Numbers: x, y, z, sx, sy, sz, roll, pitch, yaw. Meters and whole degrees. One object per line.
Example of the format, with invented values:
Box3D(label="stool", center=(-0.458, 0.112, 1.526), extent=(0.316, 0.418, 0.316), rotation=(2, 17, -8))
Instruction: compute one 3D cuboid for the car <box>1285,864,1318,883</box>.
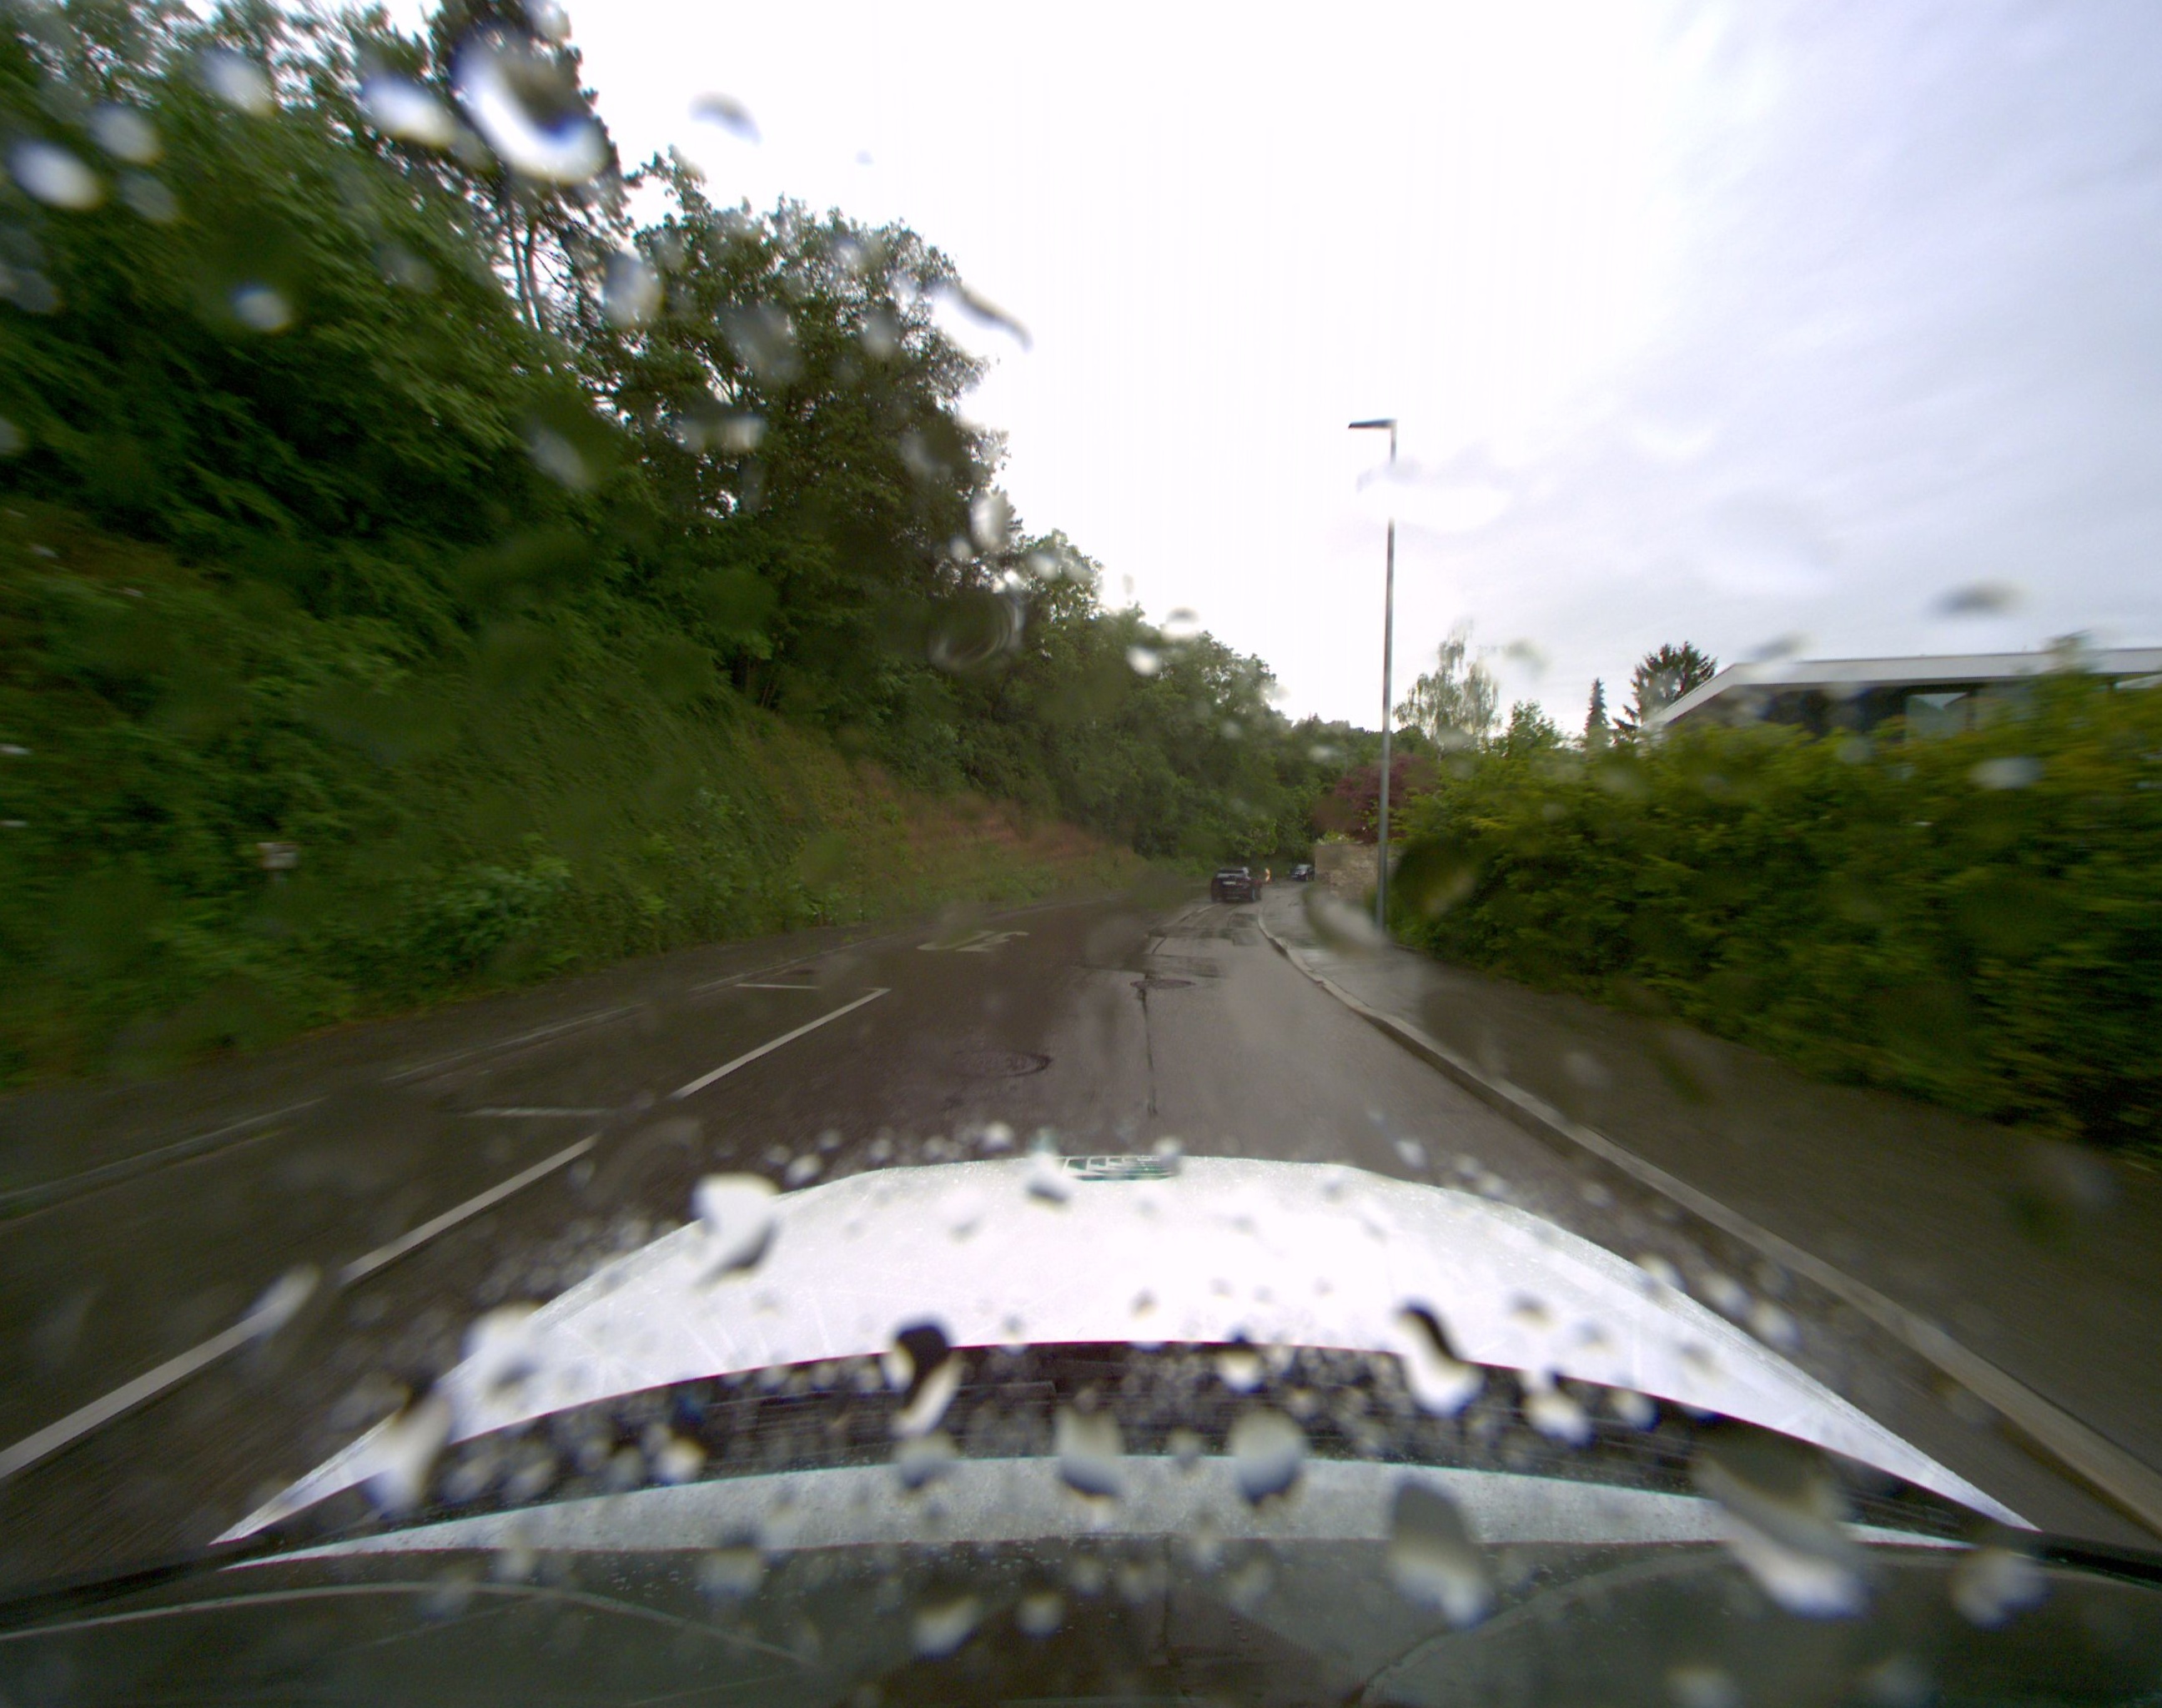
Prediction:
Box3D(label="car", center=(18.812, 1.605, 69.315), extent=(1.684, 1.471, 4.025), rotation=(2, 1, 30))

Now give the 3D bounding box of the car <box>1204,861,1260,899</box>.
Box3D(label="car", center=(6.496, 1.058, 34.668), extent=(1.854, 1.512, 4.110), rotation=(1, 0, 17))
